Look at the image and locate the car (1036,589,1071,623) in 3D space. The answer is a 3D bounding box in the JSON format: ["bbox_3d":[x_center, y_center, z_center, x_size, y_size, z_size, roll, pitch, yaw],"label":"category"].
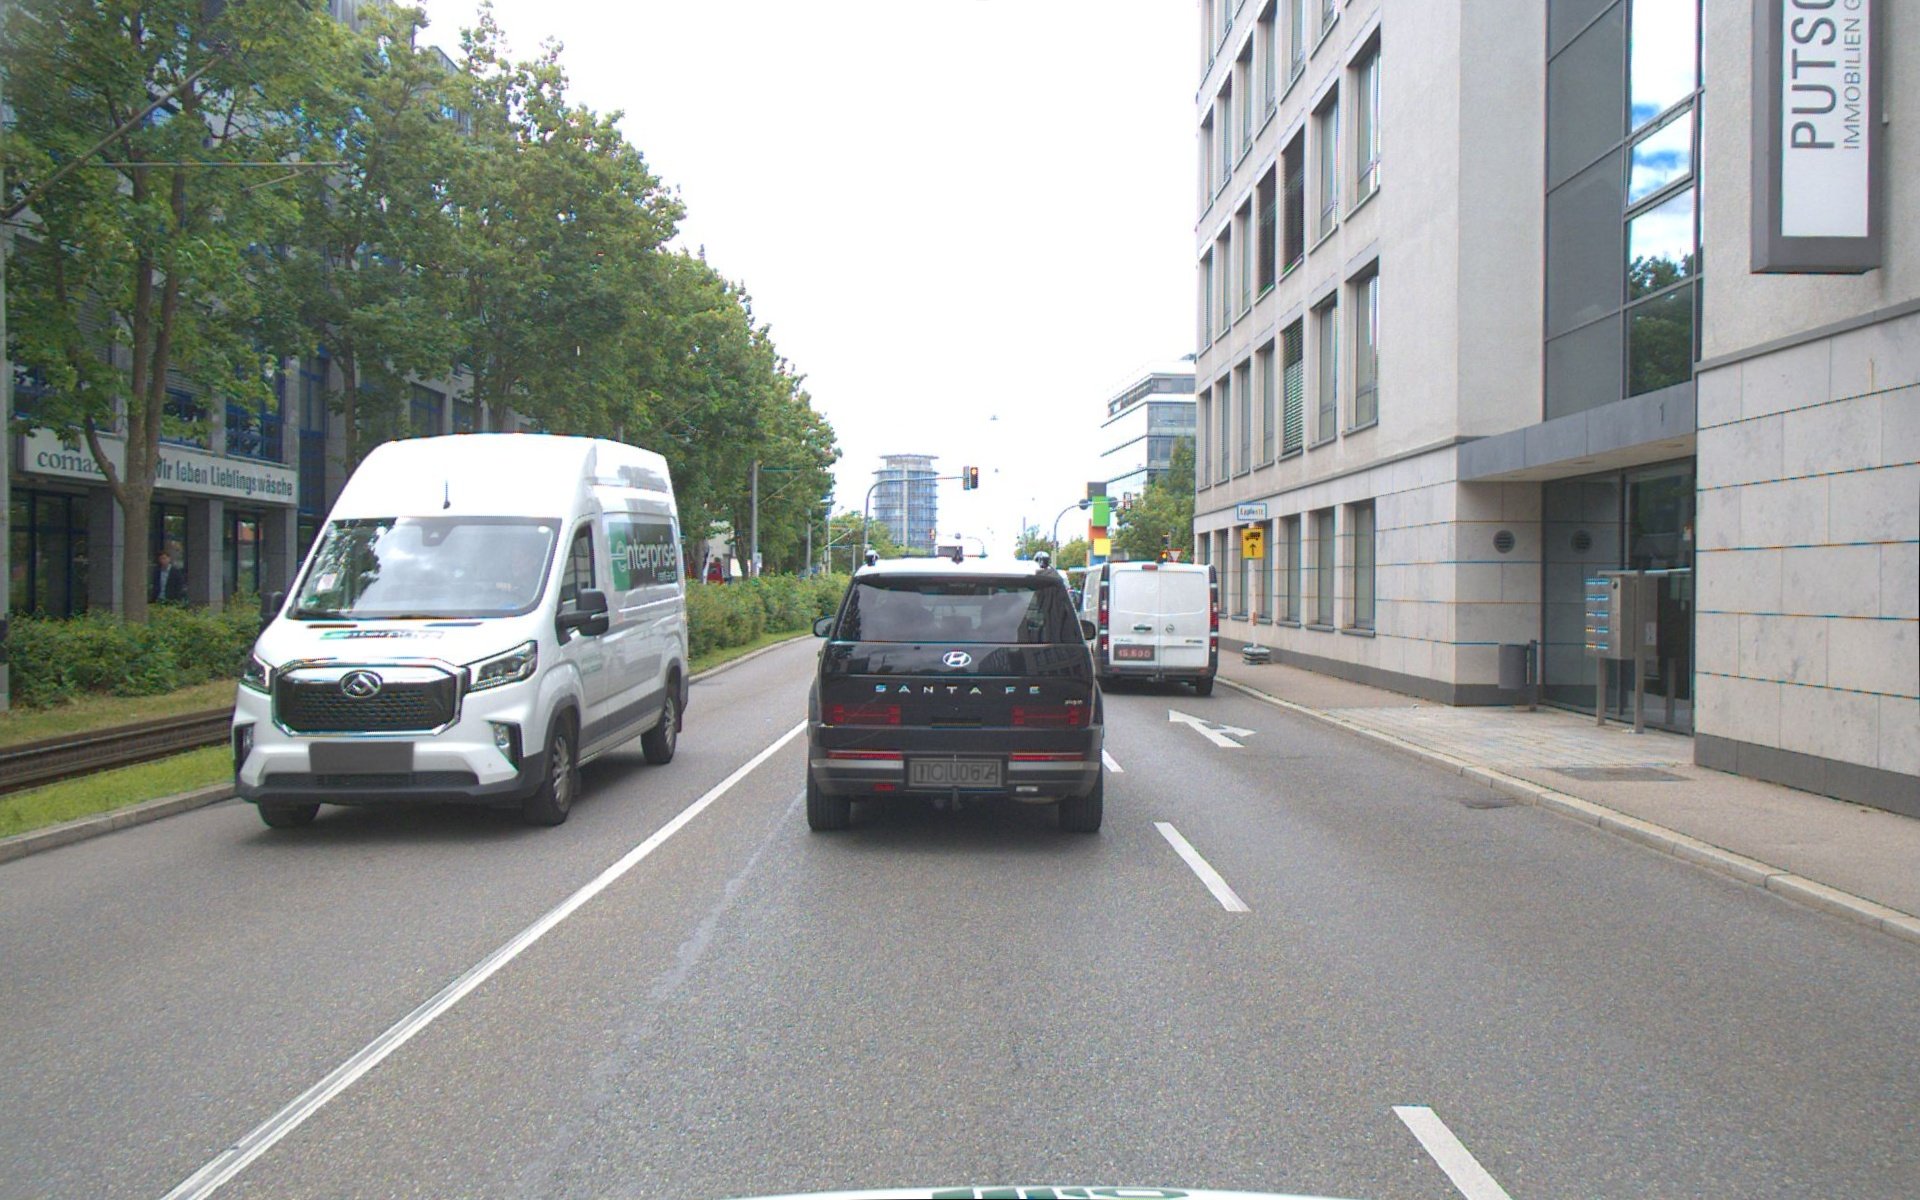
[{"bbox_3d":[4.701,0.276,83.148,1.722,1.637,4.190,0,0,3],"label":"car"}]

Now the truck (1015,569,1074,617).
[{"bbox_3d":[5.129,-0.426,101.696,2.289,2.796,6.472,0,0,-10],"label":"truck"}]

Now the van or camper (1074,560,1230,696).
[{"bbox_3d":[2.942,0.391,26.215,1.953,1.949,4.332,1,0,0],"label":"van or camper"}]

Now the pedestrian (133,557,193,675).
[{"bbox_3d":[-13.333,0.266,27.690,0.661,1.942,0.622,-1,0,0],"label":"pedestrian"}]

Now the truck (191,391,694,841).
[{"bbox_3d":[-3.535,0.076,12.718,2.121,2.661,5.795,0,0,-1],"label":"truck"}]

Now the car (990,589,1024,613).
[{"bbox_3d":[3.227,0.069,113.701,1.954,1.647,3.997,-1,0,-4],"label":"car"}]

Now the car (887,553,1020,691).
[{"bbox_3d":[-0.198,0.317,26.698,1.893,2.029,4.532,0,0,-4],"label":"car"}]

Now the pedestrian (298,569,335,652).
[{"bbox_3d":[-15.922,0.256,40.919,0.667,2.049,0.571,0,0,0],"label":"pedestrian"}]

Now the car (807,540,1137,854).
[{"bbox_3d":[-0.037,0.552,11.613,1.871,1.780,4.394,0,0,-3],"label":"car"}]
